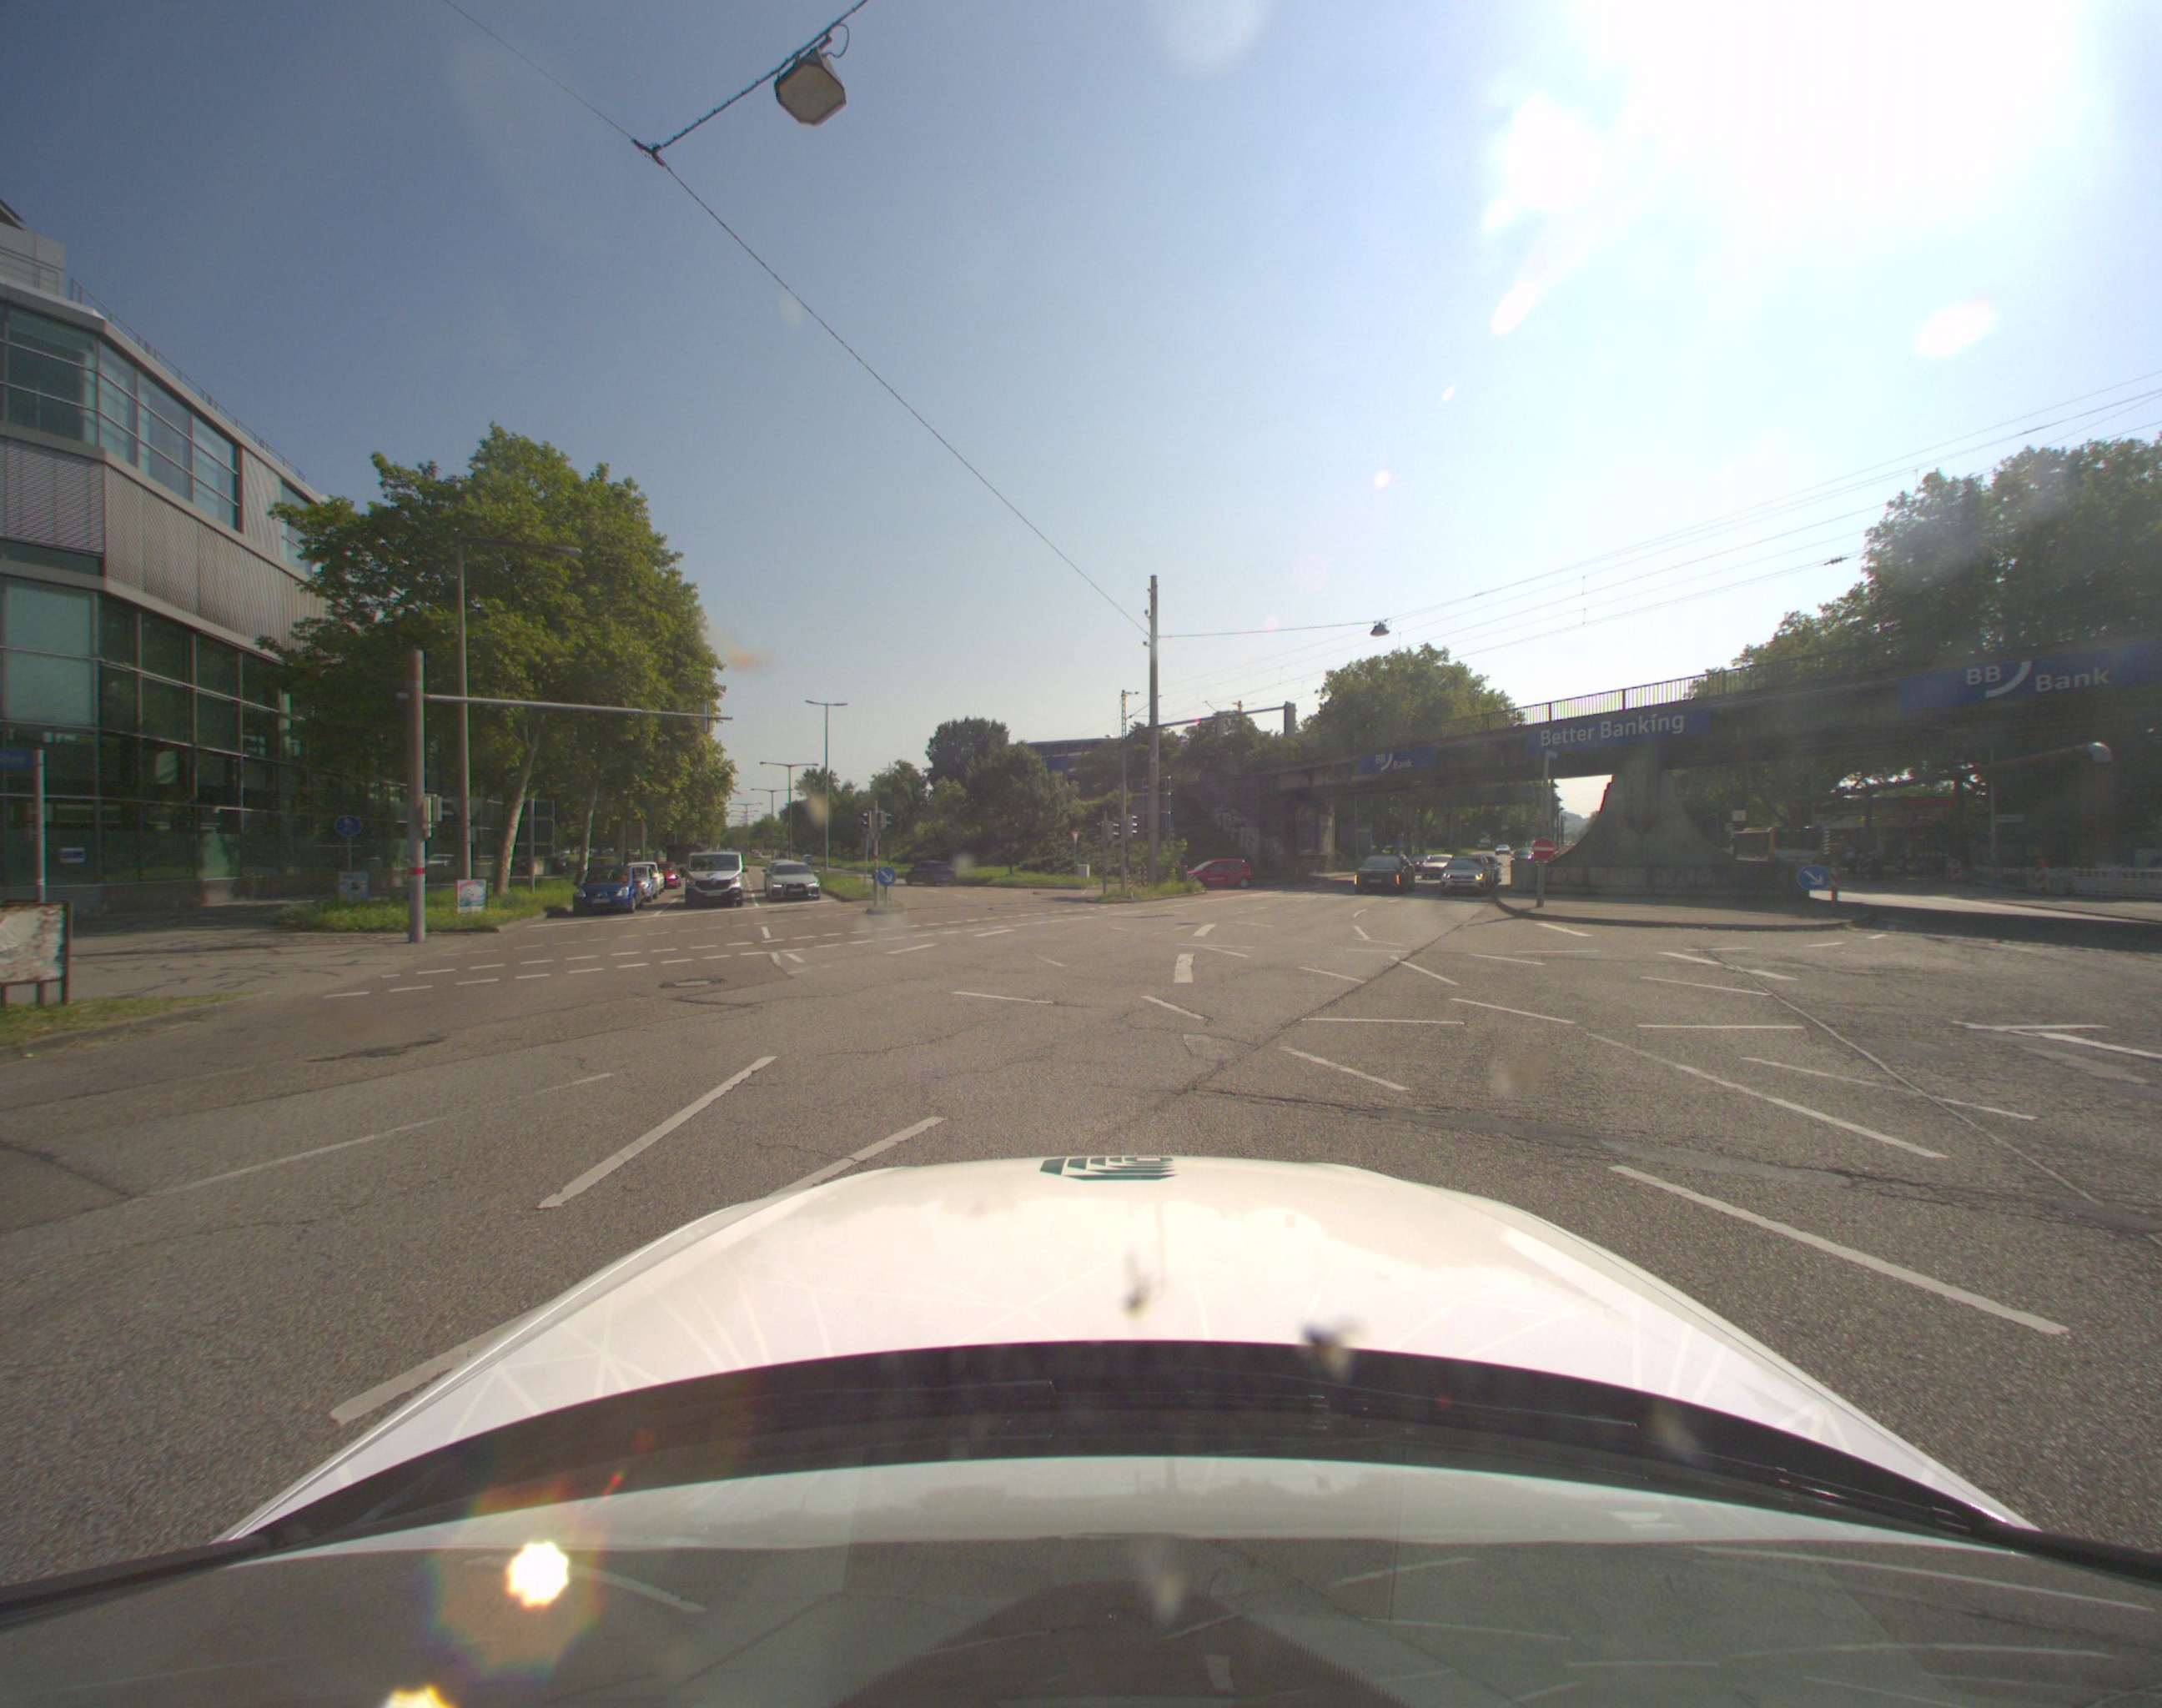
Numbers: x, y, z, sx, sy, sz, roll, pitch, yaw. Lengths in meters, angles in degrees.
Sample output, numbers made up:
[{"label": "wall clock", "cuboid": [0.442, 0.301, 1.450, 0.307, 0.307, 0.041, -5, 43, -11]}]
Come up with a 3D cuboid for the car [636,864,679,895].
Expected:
[{"label": "car", "cuboid": [-23.168, 1.345, 44.637, 1.674, 1.535, 3.703, -2, 0, -22]}]

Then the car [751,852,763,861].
[{"label": "car", "cuboid": [-70.413, 0.555, 177.043, 1.998, 1.702, 3.977, -1, 0, -17]}]

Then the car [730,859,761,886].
[{"label": "car", "cuboid": [-20.709, 1.102, 50.359, 1.674, 1.535, 3.703, -2, 0, -22]}]

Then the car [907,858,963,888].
[{"label": "car", "cuboid": [-8.419, 1.075, 46.674, 1.793, 1.427, 3.960, 1, 2, -32]}]

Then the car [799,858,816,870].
[{"label": "car", "cuboid": [-40.497, 1.494, 120.597, 2.003, 1.654, 3.968, -1, 0, -24]}]

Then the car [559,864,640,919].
[{"label": "car", "cuboid": [-15.668, 1.164, 26.675, 1.674, 1.535, 3.703, -2, 1, -22]}]

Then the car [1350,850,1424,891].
[{"label": "car", "cuboid": [12.915, 0.665, 34.173, 1.883, 1.617, 4.503, -1, -1, 34]}]

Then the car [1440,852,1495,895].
[{"label": "car", "cuboid": [15.034, 0.706, 31.594, 1.705, 1.538, 3.718, -1, 0, 28]}]

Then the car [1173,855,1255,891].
[{"label": "car", "cuboid": [6.514, 0.905, 39.878, 3.549, 1.467, 1.635, 4, 1, -16]}]

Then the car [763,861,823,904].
[{"label": "car", "cuboid": [-11.439, 1.058, 32.147, 1.844, 1.443, 4.569, -2, 1, -24]}]

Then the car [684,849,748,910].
[{"label": "car", "cuboid": [-13.322, 0.822, 29.762, 1.936, 1.957, 5.171, -1, 1, -24]}]

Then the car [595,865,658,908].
[{"label": "car", "cuboid": [-18.035, 1.234, 32.471, 1.674, 1.535, 3.703, -2, 0, -22]}]

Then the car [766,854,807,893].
[{"label": "car", "cuboid": [-14.179, 0.873, 39.055, 1.621, 1.534, 4.071, -3, 3, -22]}]

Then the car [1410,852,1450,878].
[{"label": "car", "cuboid": [20.500, 0.603, 47.770, 1.674, 1.360, 4.025, 3, 2, 29]}]

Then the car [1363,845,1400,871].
[{"label": "car", "cuboid": [22.748, 0.286, 61.533, 1.975, 1.848, 4.025, 3, 2, 29]}]

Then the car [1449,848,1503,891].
[{"label": "car", "cuboid": [17.366, 0.631, 35.691, 1.975, 1.572, 4.375, 1, 3, 28]}]

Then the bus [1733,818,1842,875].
[{"label": "bus", "cuboid": [44.958, -0.498, 52.317, 3.105, 3.112, 12.367, 4, 3, 31]}]

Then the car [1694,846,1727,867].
[{"label": "car", "cuboid": [64.790, 0.187, 83.902, 1.975, 2.013, 4.025, 3, 2, 28]}]
